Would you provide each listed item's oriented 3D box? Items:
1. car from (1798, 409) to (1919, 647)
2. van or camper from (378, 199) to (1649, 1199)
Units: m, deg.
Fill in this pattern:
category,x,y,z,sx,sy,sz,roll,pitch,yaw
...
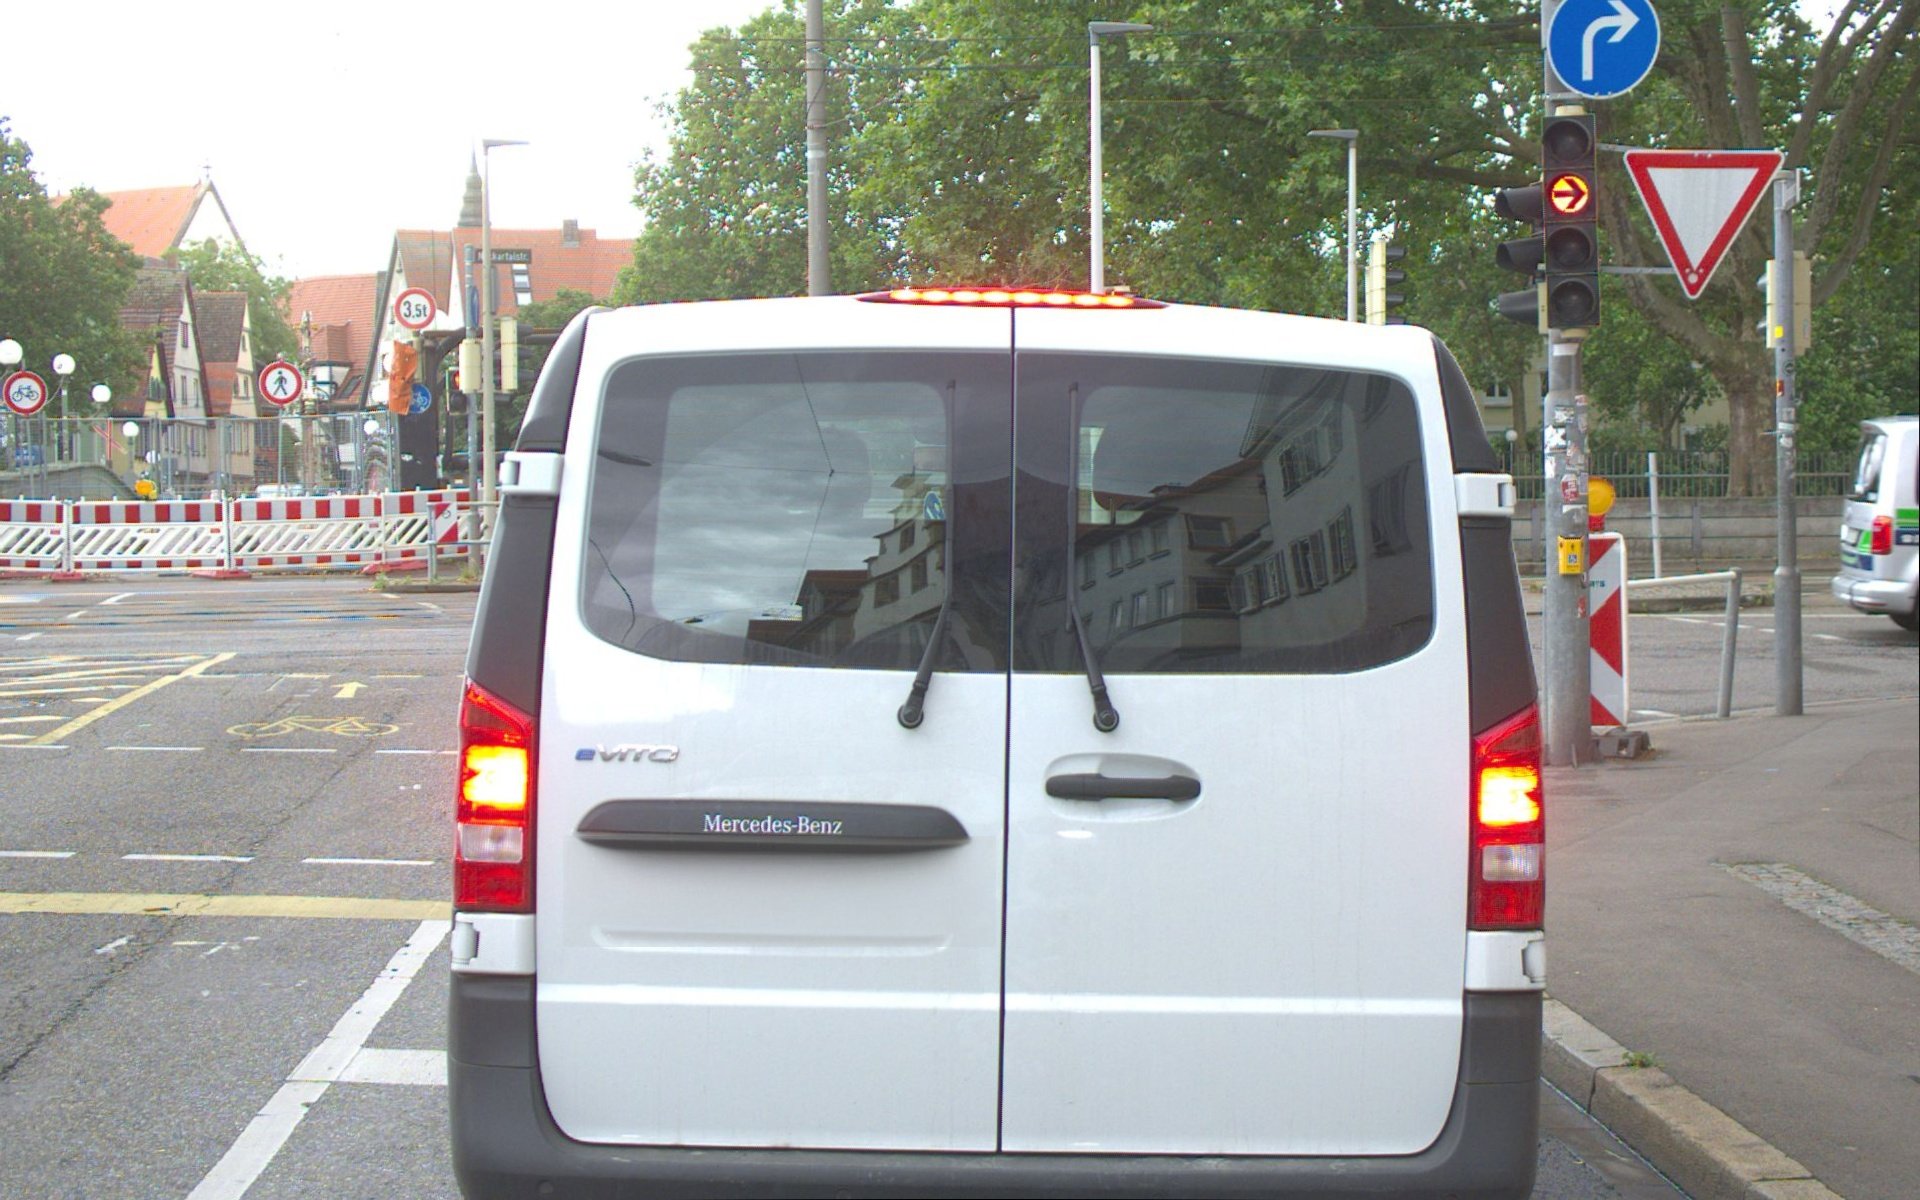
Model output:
category,x,y,z,sx,sy,sz,roll,pitch,yaw
car,9.128,-0.588,27.593,4.347,1.796,2.000,1,5,4
van or camper,-0.084,0.346,7.486,1.937,1.918,4.441,1,0,-5
